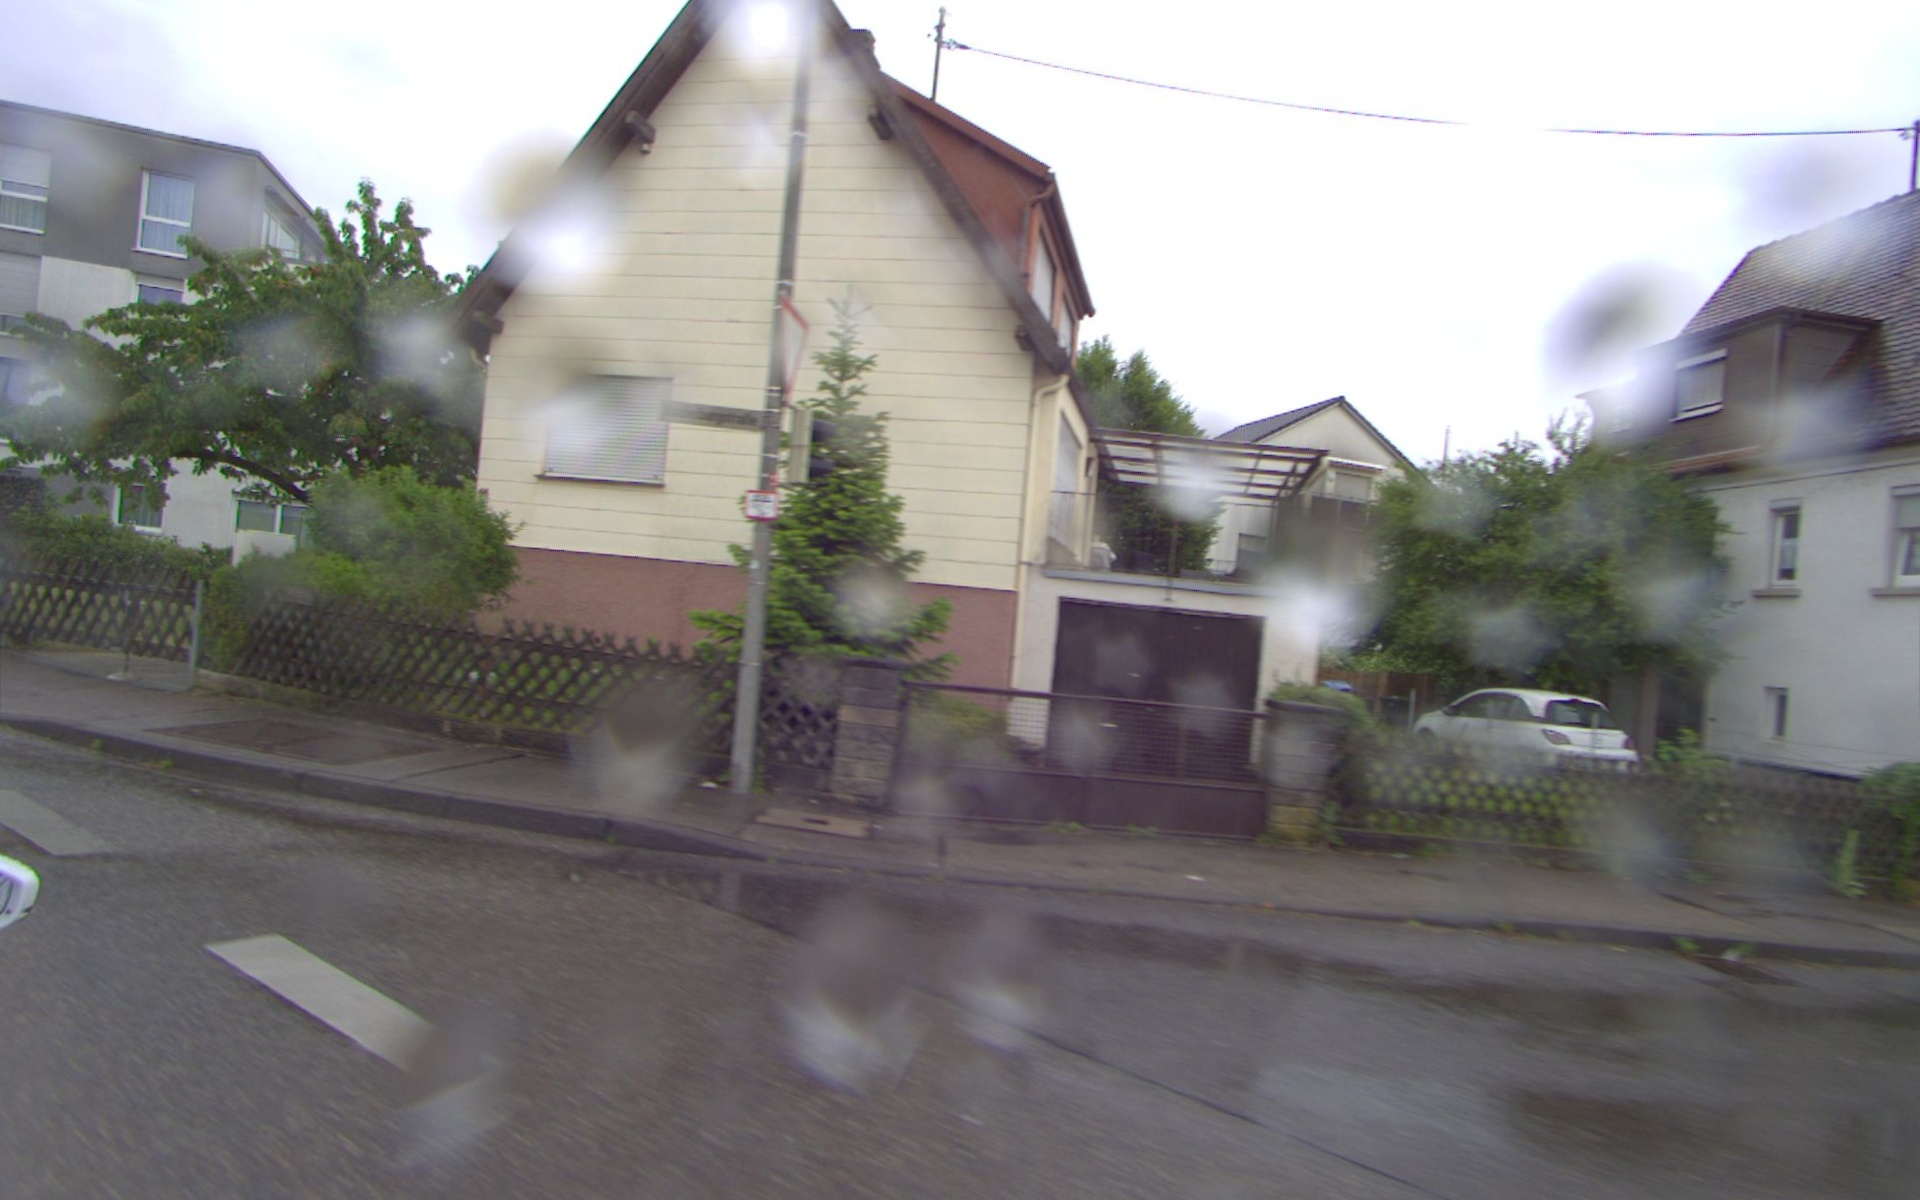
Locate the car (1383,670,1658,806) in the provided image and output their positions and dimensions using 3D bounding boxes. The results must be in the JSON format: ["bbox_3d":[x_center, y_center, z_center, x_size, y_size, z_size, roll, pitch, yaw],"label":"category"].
[{"bbox_3d":[8.809,2.105,16.224,1.819,1.514,3.736,7,-1,-9],"label":"car"}]
